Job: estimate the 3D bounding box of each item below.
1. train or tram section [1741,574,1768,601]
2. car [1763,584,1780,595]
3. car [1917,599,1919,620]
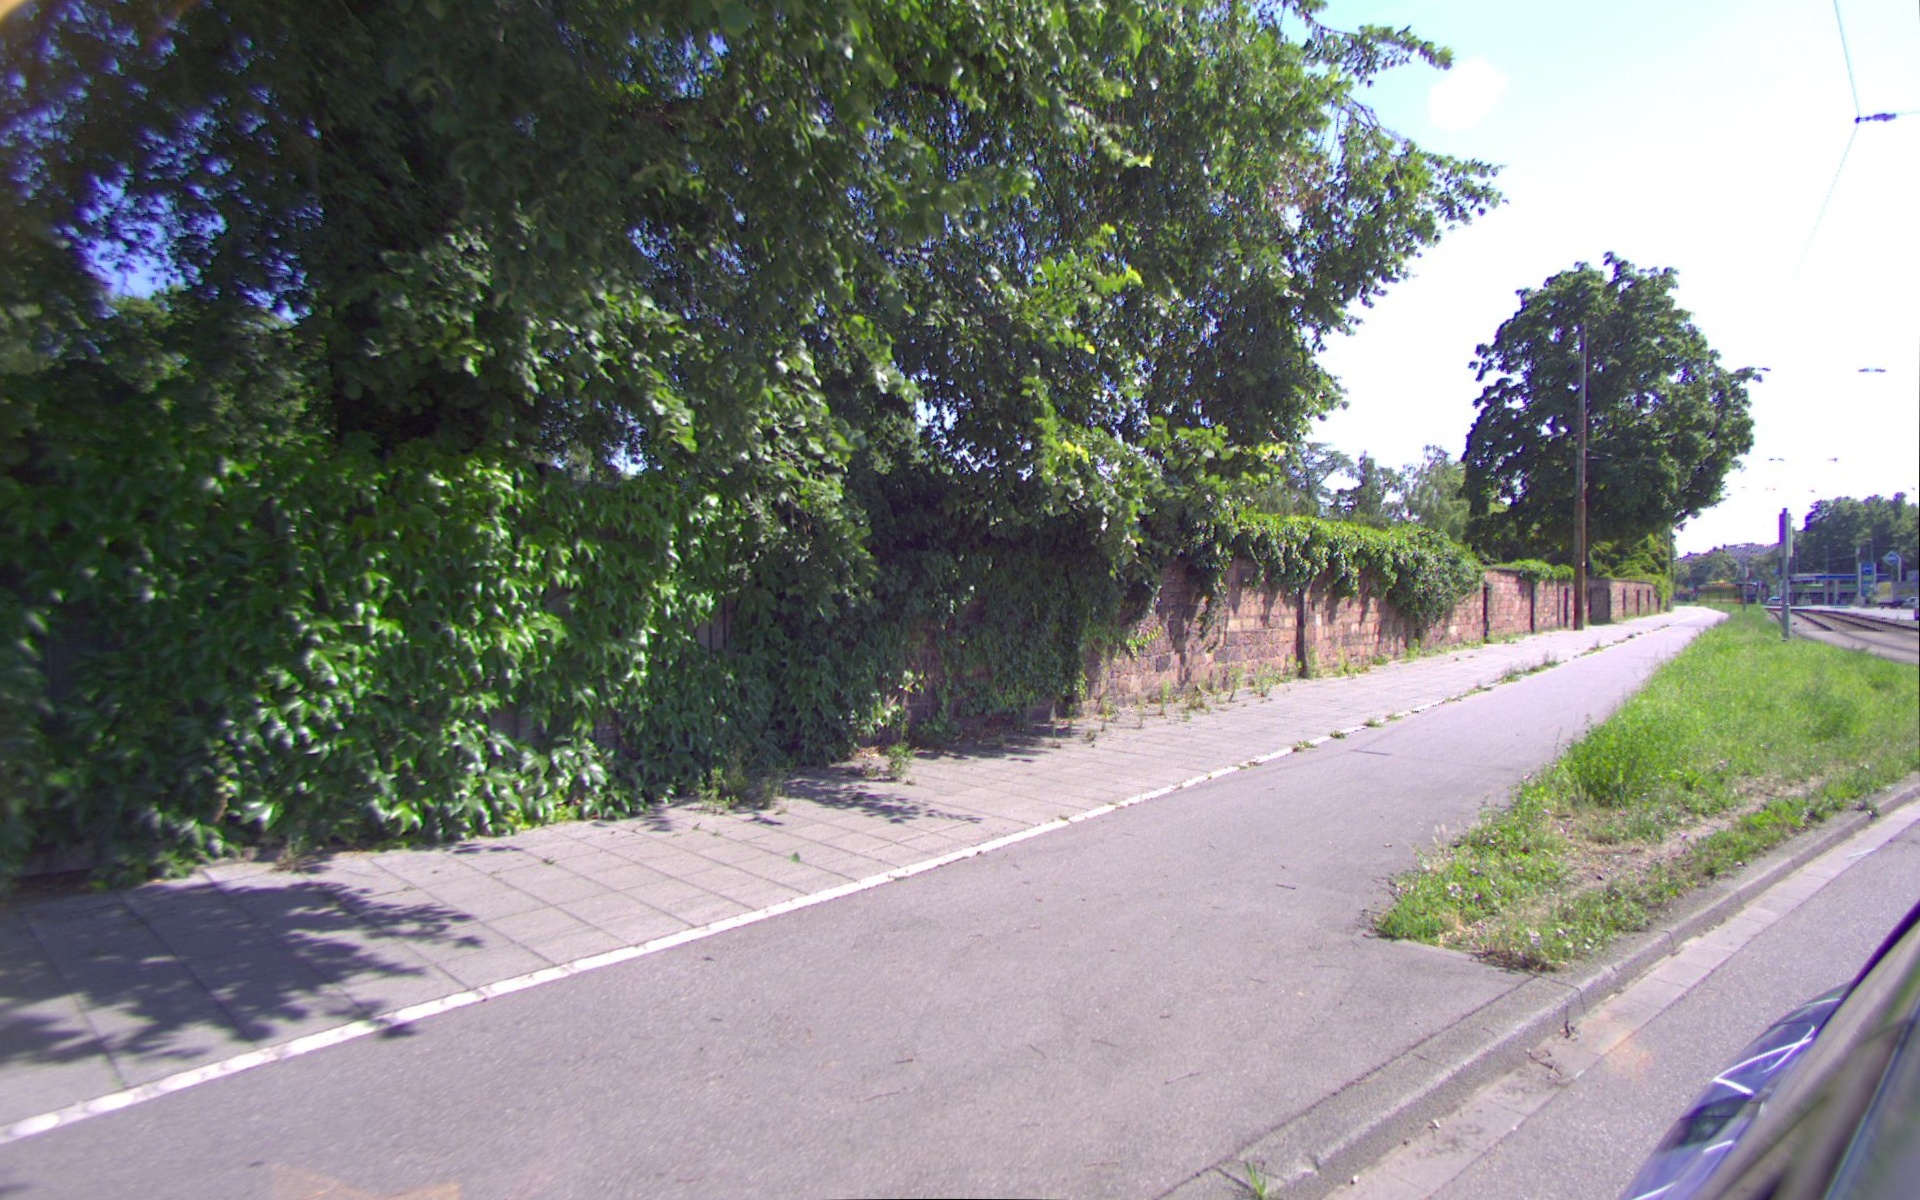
[{"bbox_3d":[113.585,-1.824,144.625,2.665,3.698,15.091,-3,-1,39],"label":"train or tram section"},{"bbox_3d":[150.239,-1.906,187.395,1.984,2.039,3.957,0,1,31],"label":"car"},{"bbox_3d":[59.581,0.601,61.567,1.693,1.271,3.943,0,1,40],"label":"car"}]
